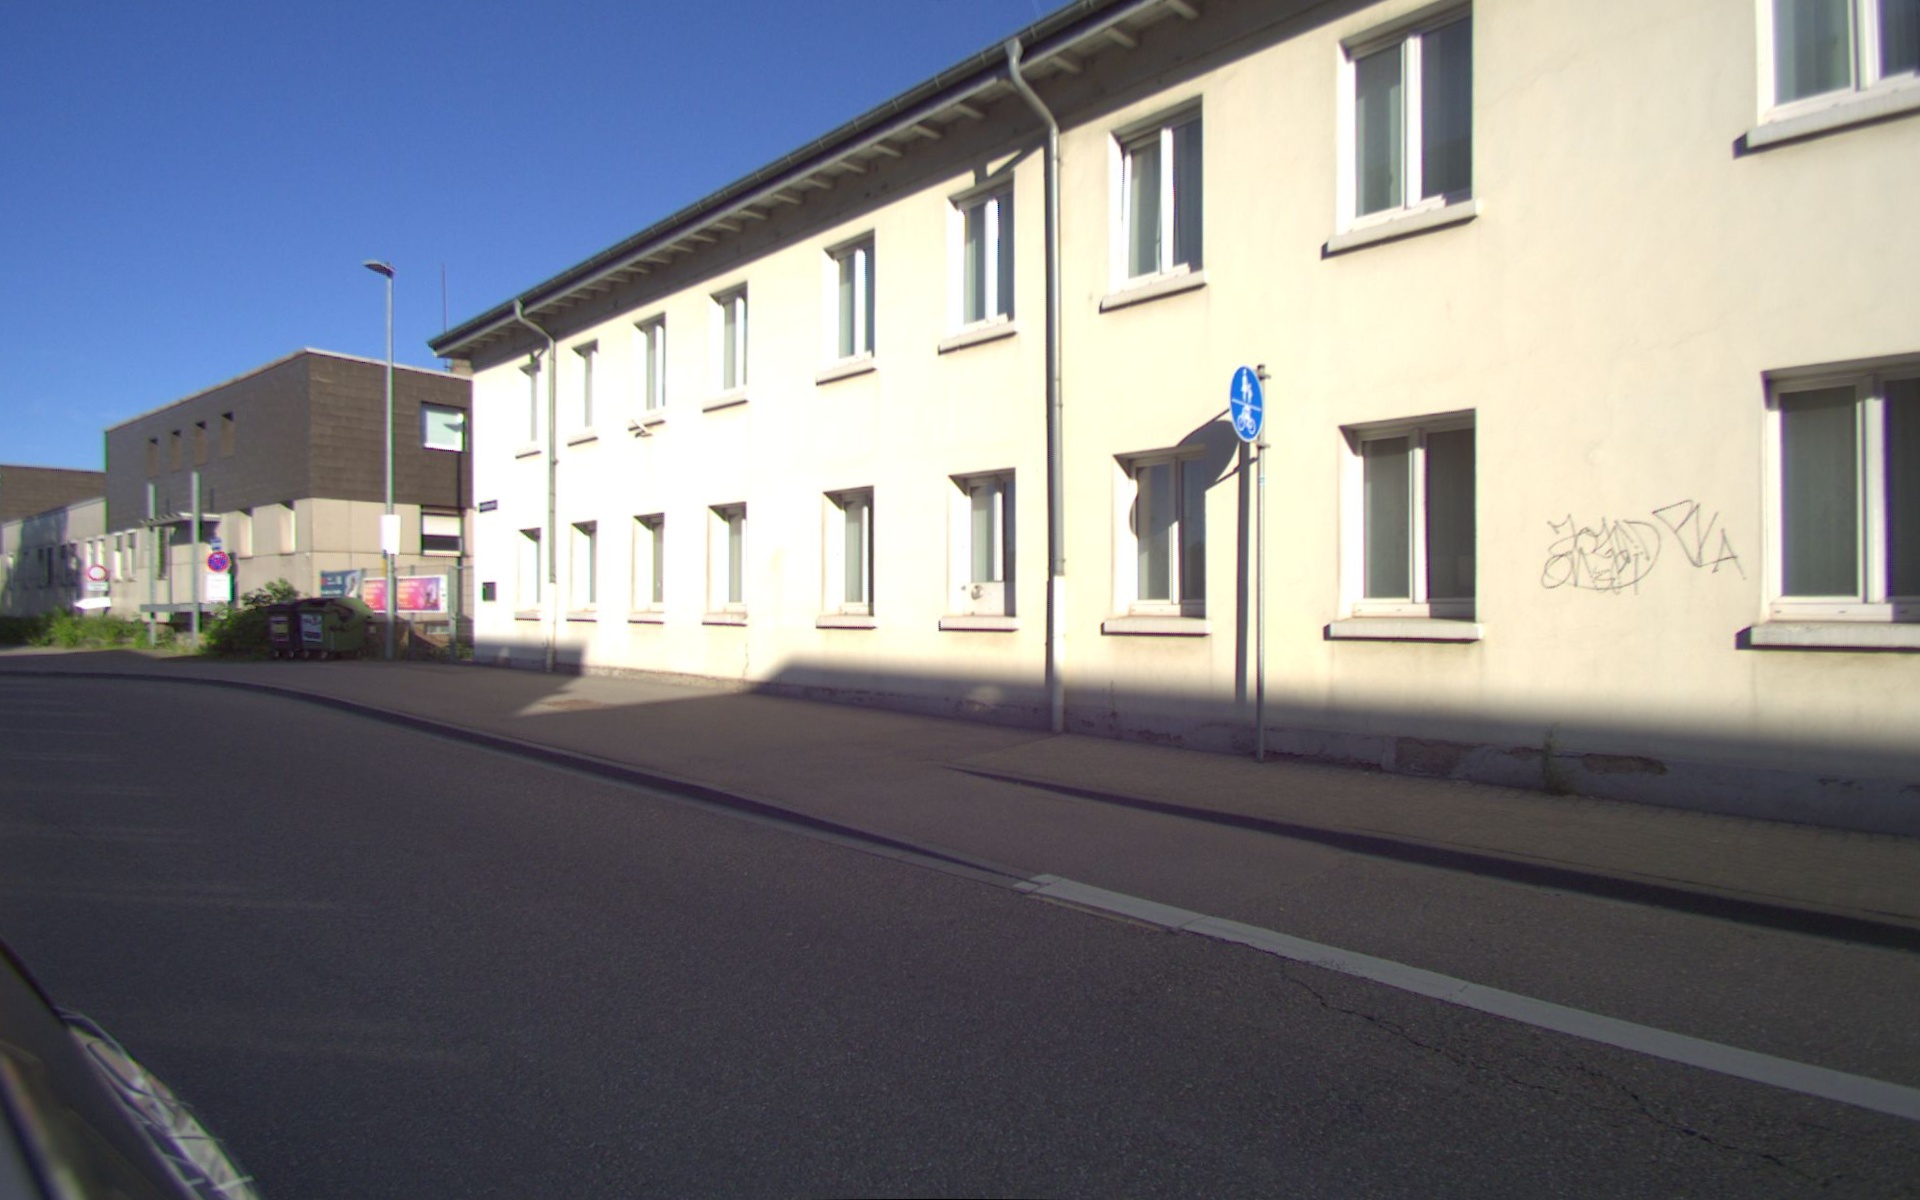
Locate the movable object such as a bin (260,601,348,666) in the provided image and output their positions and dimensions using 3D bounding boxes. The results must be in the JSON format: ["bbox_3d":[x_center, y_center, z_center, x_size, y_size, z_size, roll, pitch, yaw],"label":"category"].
[{"bbox_3d":[-15.550,0.780,24.010,1.285,1.482,1.350,-1,-1,32],"label":"movable object such as a bin"}]

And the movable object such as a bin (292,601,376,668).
[{"bbox_3d":[-14.389,0.765,23.262,1.368,1.482,1.189,-1,-1,33],"label":"movable object such as a bin"}]
